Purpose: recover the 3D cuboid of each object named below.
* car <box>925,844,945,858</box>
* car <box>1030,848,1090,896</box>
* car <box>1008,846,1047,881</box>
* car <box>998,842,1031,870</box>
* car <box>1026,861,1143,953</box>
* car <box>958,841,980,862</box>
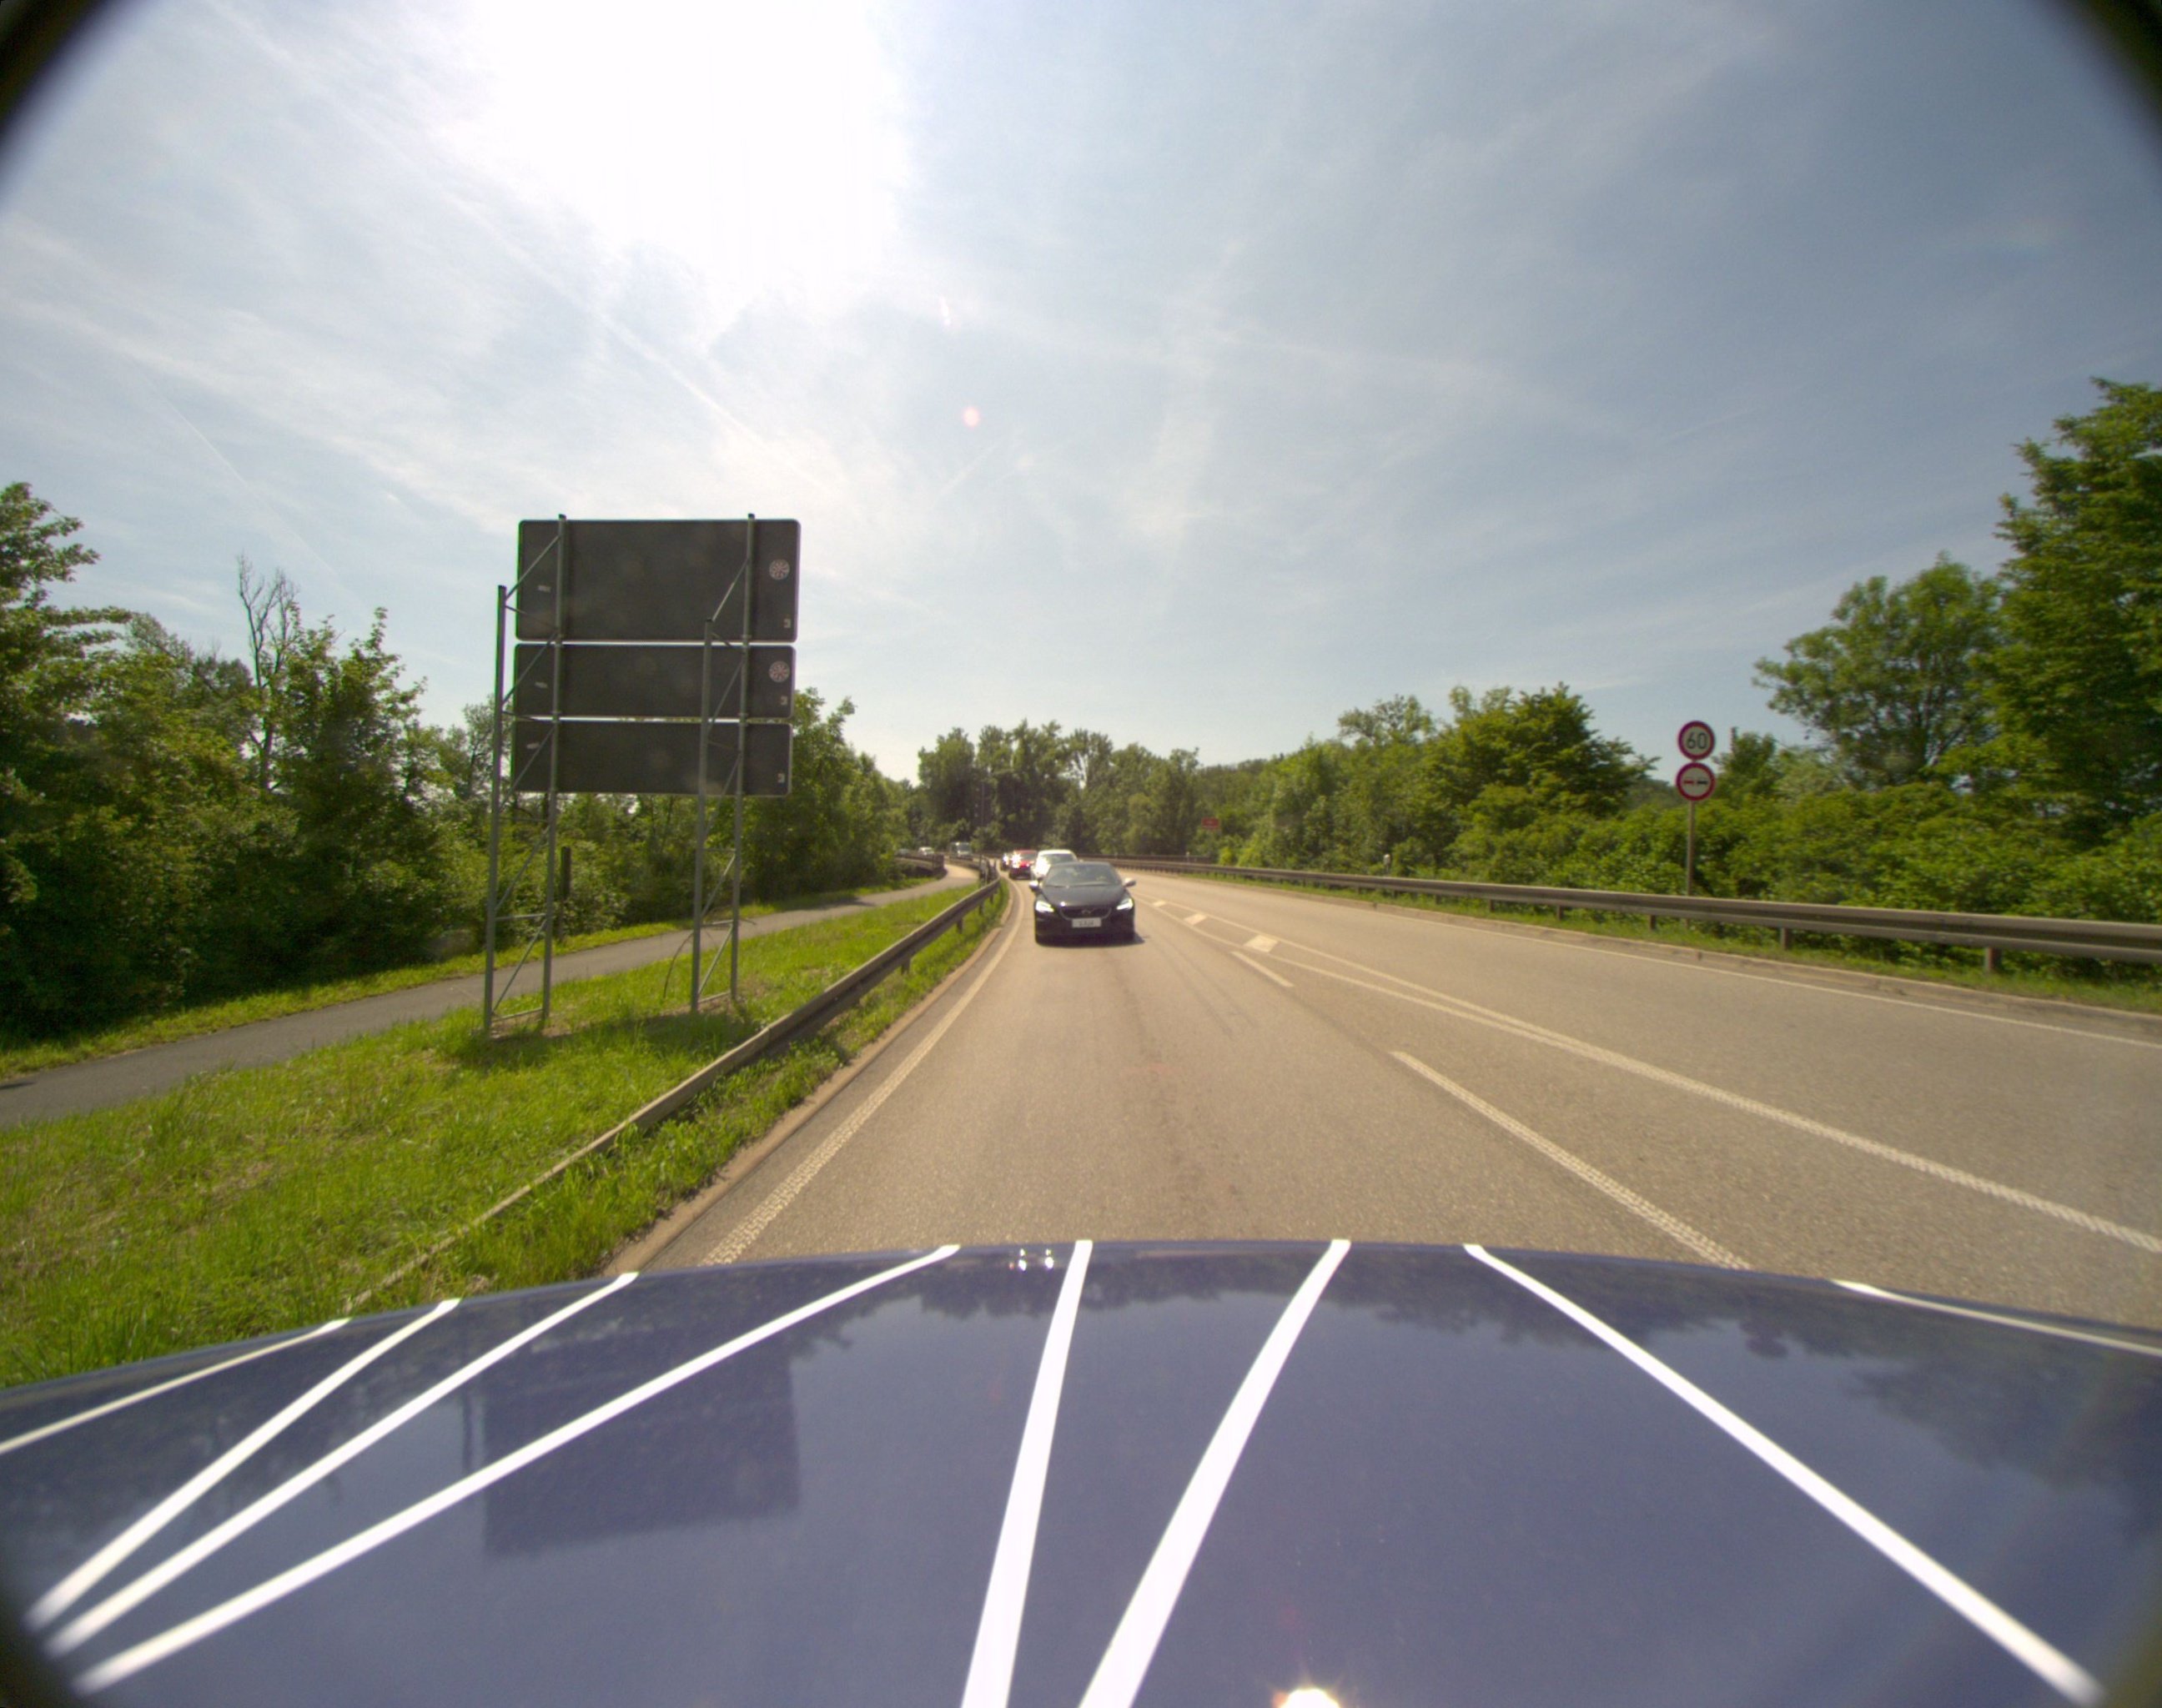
[{"bbox_3d":[-22.544,-0.441,117.160,2.002,2.002,4.703,-3,2,-21],"label":"car"},{"bbox_3d":[-0.880,0.640,29.224,1.910,1.638,3.948,-2,0,-6],"label":"car"},{"bbox_3d":[-3.151,0.519,43.997,2.000,1.766,3.996,-2,2,-7],"label":"car"},{"bbox_3d":[-5.399,0.123,61.143,2.001,2.002,3.994,-2,2,-13],"label":"car"},{"bbox_3d":[-0.061,0.911,14.678,1.910,1.413,3.949,-2,0,-3],"label":"car"},{"bbox_3d":[-14.292,-0.346,96.606,2.001,2.471,4.851,-3,2,-16],"label":"car"}]
